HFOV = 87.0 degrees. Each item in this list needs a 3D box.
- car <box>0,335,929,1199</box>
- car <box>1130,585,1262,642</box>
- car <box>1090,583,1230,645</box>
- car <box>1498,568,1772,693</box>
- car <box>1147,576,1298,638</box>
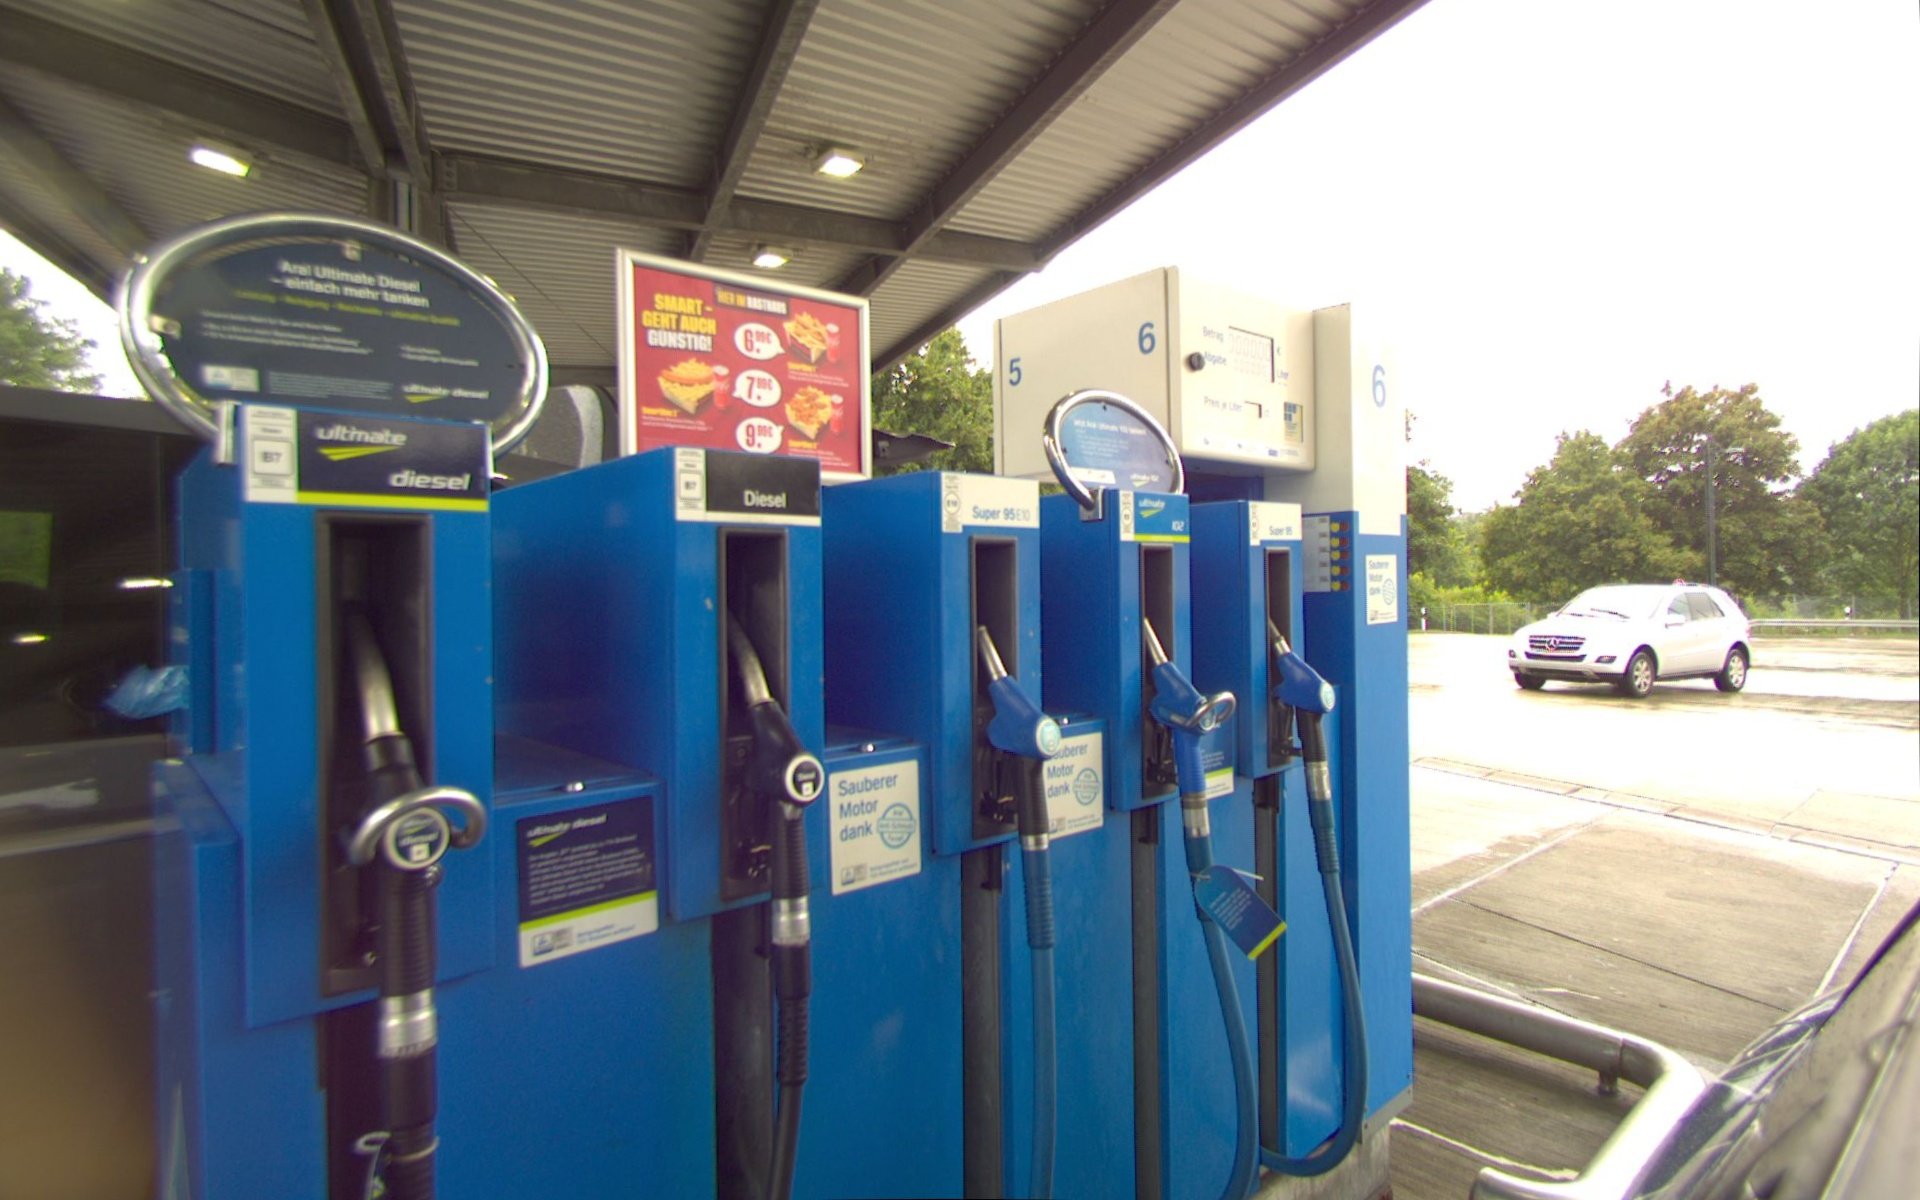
[{"bbox_3d":[-2.596,0.504,1.827,5.050,1.821,1.864,-1,0,-41],"label":"car"},{"bbox_3d":[7.428,0.389,31.931,3.941,1.680,1.593,1,0,14],"label":"car"},{"bbox_3d":[5.874,0.377,29.740,3.941,1.680,1.593,1,0,14],"label":"car"},{"bbox_3d":[11.092,0.468,16.579,4.447,1.821,1.870,1,0,-28],"label":"car"},{"bbox_3d":[8.890,0.210,34.514,4.817,1.974,2.306,1,1,14],"label":"car"}]
